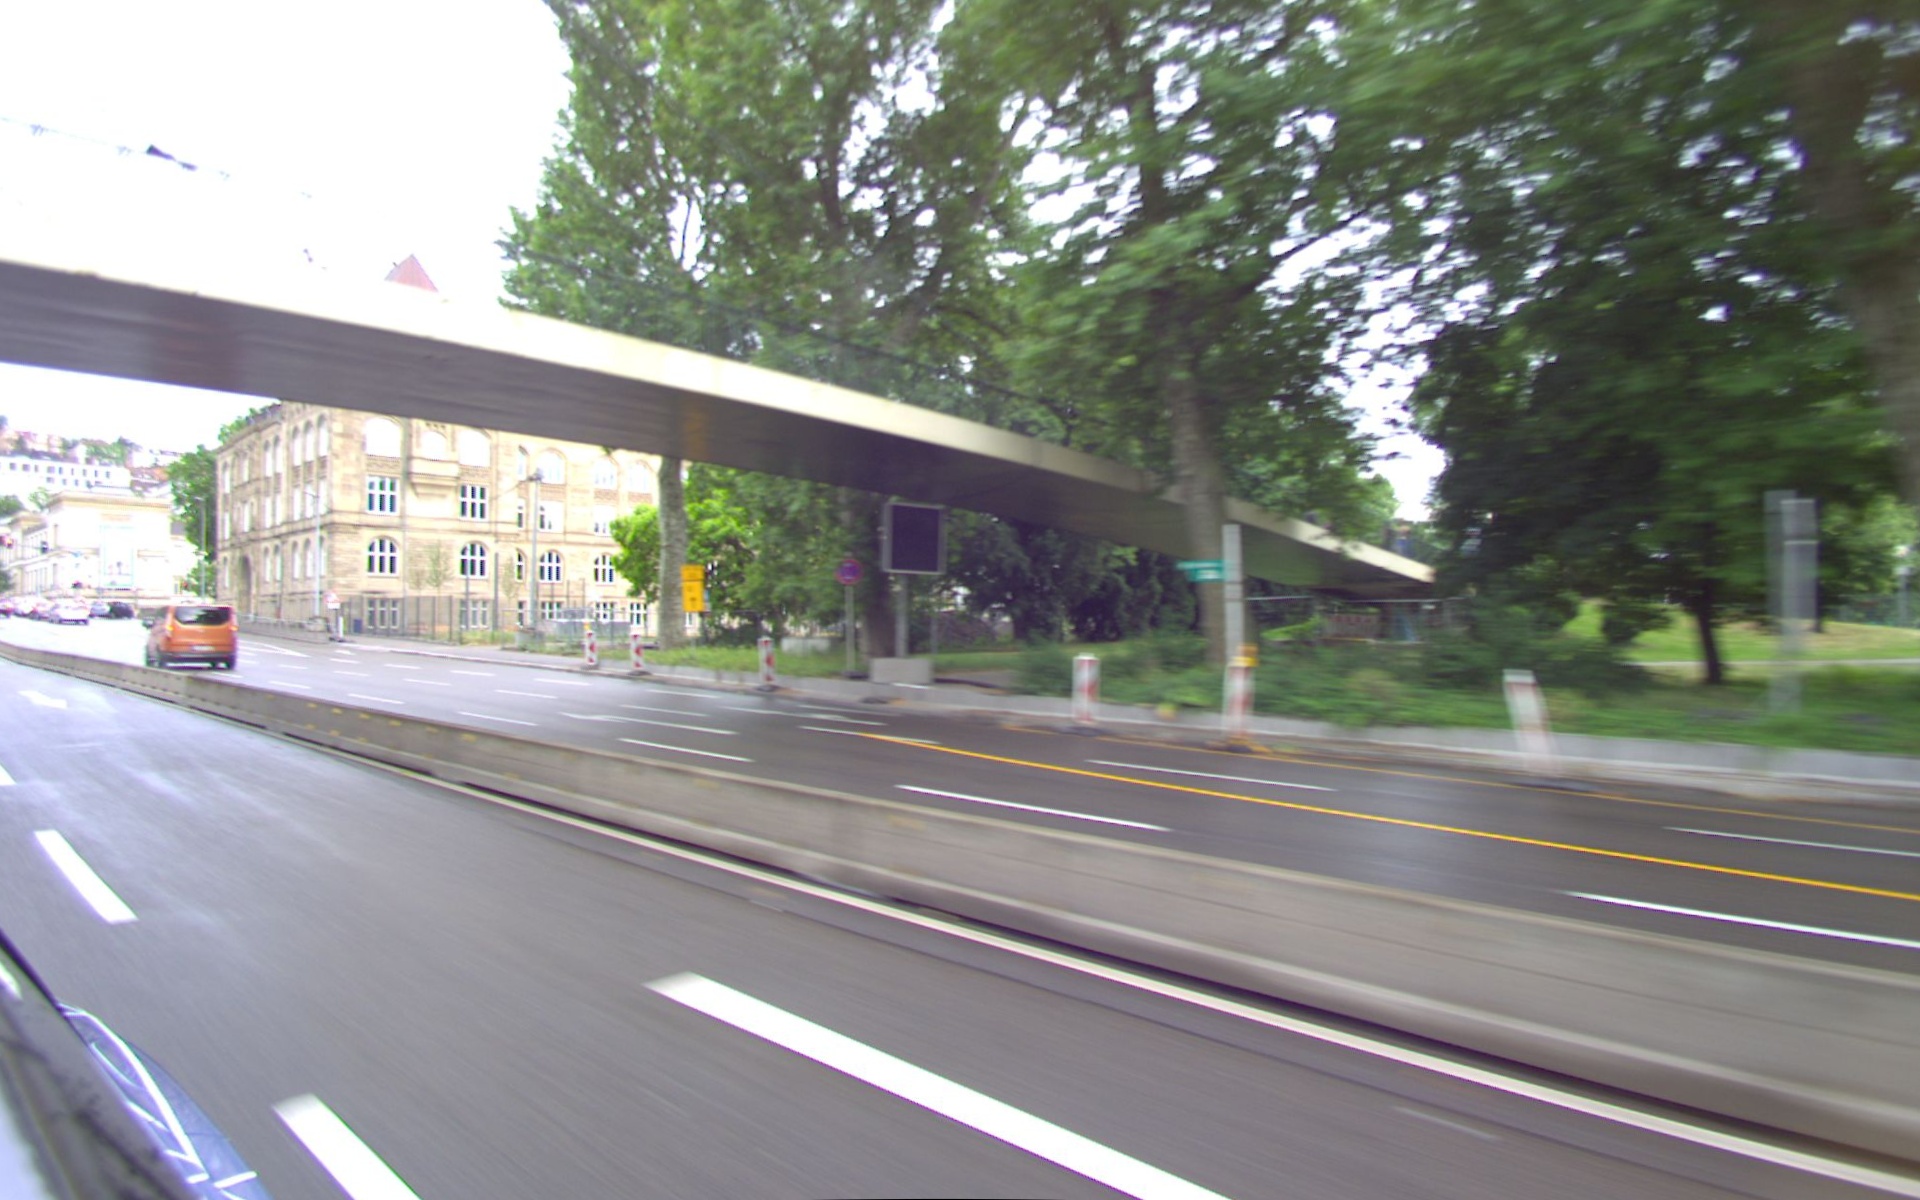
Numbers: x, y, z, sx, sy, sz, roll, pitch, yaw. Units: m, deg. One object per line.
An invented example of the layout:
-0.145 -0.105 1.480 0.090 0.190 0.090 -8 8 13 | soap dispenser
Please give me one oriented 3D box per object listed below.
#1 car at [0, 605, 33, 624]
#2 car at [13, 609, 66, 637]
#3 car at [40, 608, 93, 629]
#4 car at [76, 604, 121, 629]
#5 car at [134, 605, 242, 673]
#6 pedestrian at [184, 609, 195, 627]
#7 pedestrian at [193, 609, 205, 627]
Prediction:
-76.756 1.151 81.798 4.205 1.393 1.975 1 -2 37 | car
-71.516 1.797 78.618 3.988 2.029 1.977 1 -2 33 | car
-65.247 1.353 73.905 4.203 1.393 1.976 1 -2 36 | car
-77.318 1.498 90.849 3.988 2.029 1.977 1 -2 33 | car
-24.768 1.207 32.380 5.047 1.951 2.007 1 -2 45 | car
-69.137 1.616 90.799 0.734 1.596 0.610 1 -2 41 | pedestrian
-68.691 1.615 91.311 0.733 1.596 0.611 1 -2 34 | pedestrian
